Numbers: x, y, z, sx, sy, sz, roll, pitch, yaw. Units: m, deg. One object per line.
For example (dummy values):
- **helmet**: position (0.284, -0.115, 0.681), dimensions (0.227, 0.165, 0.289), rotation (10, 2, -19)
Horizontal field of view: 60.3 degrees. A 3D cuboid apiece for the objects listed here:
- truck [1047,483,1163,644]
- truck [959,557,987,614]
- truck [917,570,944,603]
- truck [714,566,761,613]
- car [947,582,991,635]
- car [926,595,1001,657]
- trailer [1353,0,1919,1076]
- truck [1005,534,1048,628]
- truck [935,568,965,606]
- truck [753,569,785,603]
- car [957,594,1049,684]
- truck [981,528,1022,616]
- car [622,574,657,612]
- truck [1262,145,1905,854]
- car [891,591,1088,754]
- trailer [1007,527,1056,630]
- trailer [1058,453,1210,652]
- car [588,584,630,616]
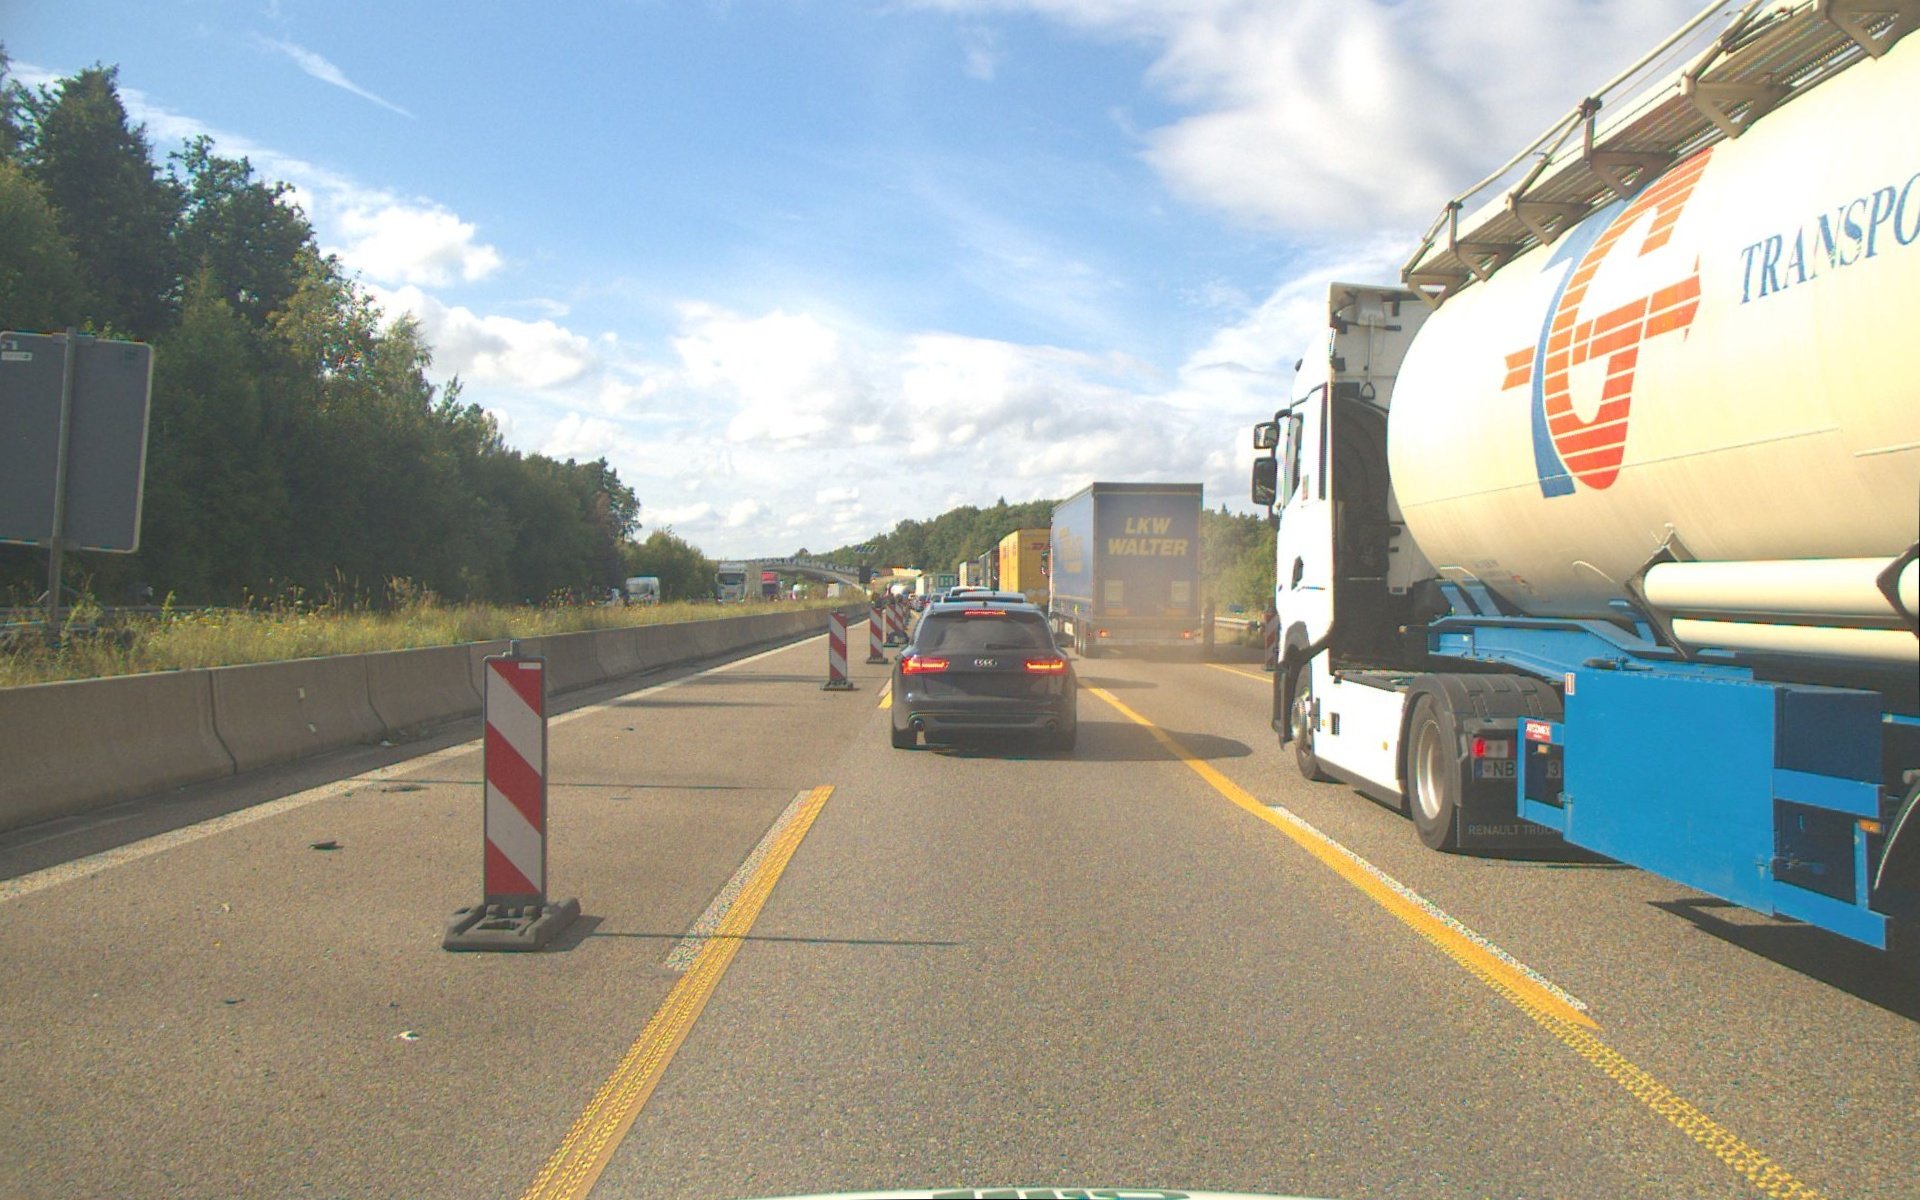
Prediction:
- **truck**: position (4.251, -1.012, 50.155), dimensions (2.749, 4.446, 7.791), rotation (1, 0, 0)
- **truck**: position (0.987, -1.091, 130.351), dimensions (2.094, 4.332, 7.070), rotation (1, 0, 0)
- **truck**: position (-4.026, -1.836, 224.468), dimensions (3.238, 4.248, 9.696), rotation (1, 0, -3)
- **truck**: position (-19.936, -0.900, 148.618), dimensions (2.725, 4.054, 10.861), rotation (1, 0, 0)
- **car**: position (0.322, 0.320, 60.955), dimensions (1.549, 1.869, 3.111), rotation (1, 0, 0)
- **car**: position (0.090, 0.608, 40.150), dimensions (1.716, 1.421, 3.607), rotation (1, 0, 0)
- **trailer**: position (4.135, -0.591, 5.471), dimensions (2.590, 4.012, 12.596), rotation (1, 0, 0)
- **truck**: position (2.871, -0.806, 72.014), dimensions (1.577, 3.965, 4.071), rotation (1, 0, -1)
- **truck**: position (-1.231, -1.476, 193.324), dimensions (3.237, 4.248, 9.698), rotation (0, 0, -2)
- **truck**: position (-23.768, -1.701, 206.590), dimensions (2.743, 4.062, 10.185), rotation (1, 0, 0)
- **car**: position (0.704, 0.646, 28.791), dimensions (1.493, 1.464, 3.284), rotation (1, 0, 0)
- **truck**: position (2.428, -1.633, 99.432), dimensions (1.953, 5.000, 9.559), rotation (1, 0, -1)
- **car**: position (-23.563, -0.482, 121.771), dimensions (2.208, 2.689, 5.011), rotation (1, 0, -7)
- **truck**: position (4.126, -0.570, 12.420), dimensions (2.604, 4.041, 5.778), rotation (1, 0, 0)
- **car**: position (0.273, 0.679, 17.292), dimensions (1.811, 1.489, 4.000), rotation (0, 0, 0)
- **trailer**: position (2.896, -0.827, 68.008), dimensions (1.584, 3.987, 6.488), rotation (1, 0, -1)
- **trailer**: position (4.276, -1.062, 42.869), dimensions (2.748, 4.490, 10.431), rotation (1, 0, 0)
- **car**: position (-23.750, 0.002, 111.907), dimensions (1.953, 2.049, 4.000), rotation (1, 0, 0)
